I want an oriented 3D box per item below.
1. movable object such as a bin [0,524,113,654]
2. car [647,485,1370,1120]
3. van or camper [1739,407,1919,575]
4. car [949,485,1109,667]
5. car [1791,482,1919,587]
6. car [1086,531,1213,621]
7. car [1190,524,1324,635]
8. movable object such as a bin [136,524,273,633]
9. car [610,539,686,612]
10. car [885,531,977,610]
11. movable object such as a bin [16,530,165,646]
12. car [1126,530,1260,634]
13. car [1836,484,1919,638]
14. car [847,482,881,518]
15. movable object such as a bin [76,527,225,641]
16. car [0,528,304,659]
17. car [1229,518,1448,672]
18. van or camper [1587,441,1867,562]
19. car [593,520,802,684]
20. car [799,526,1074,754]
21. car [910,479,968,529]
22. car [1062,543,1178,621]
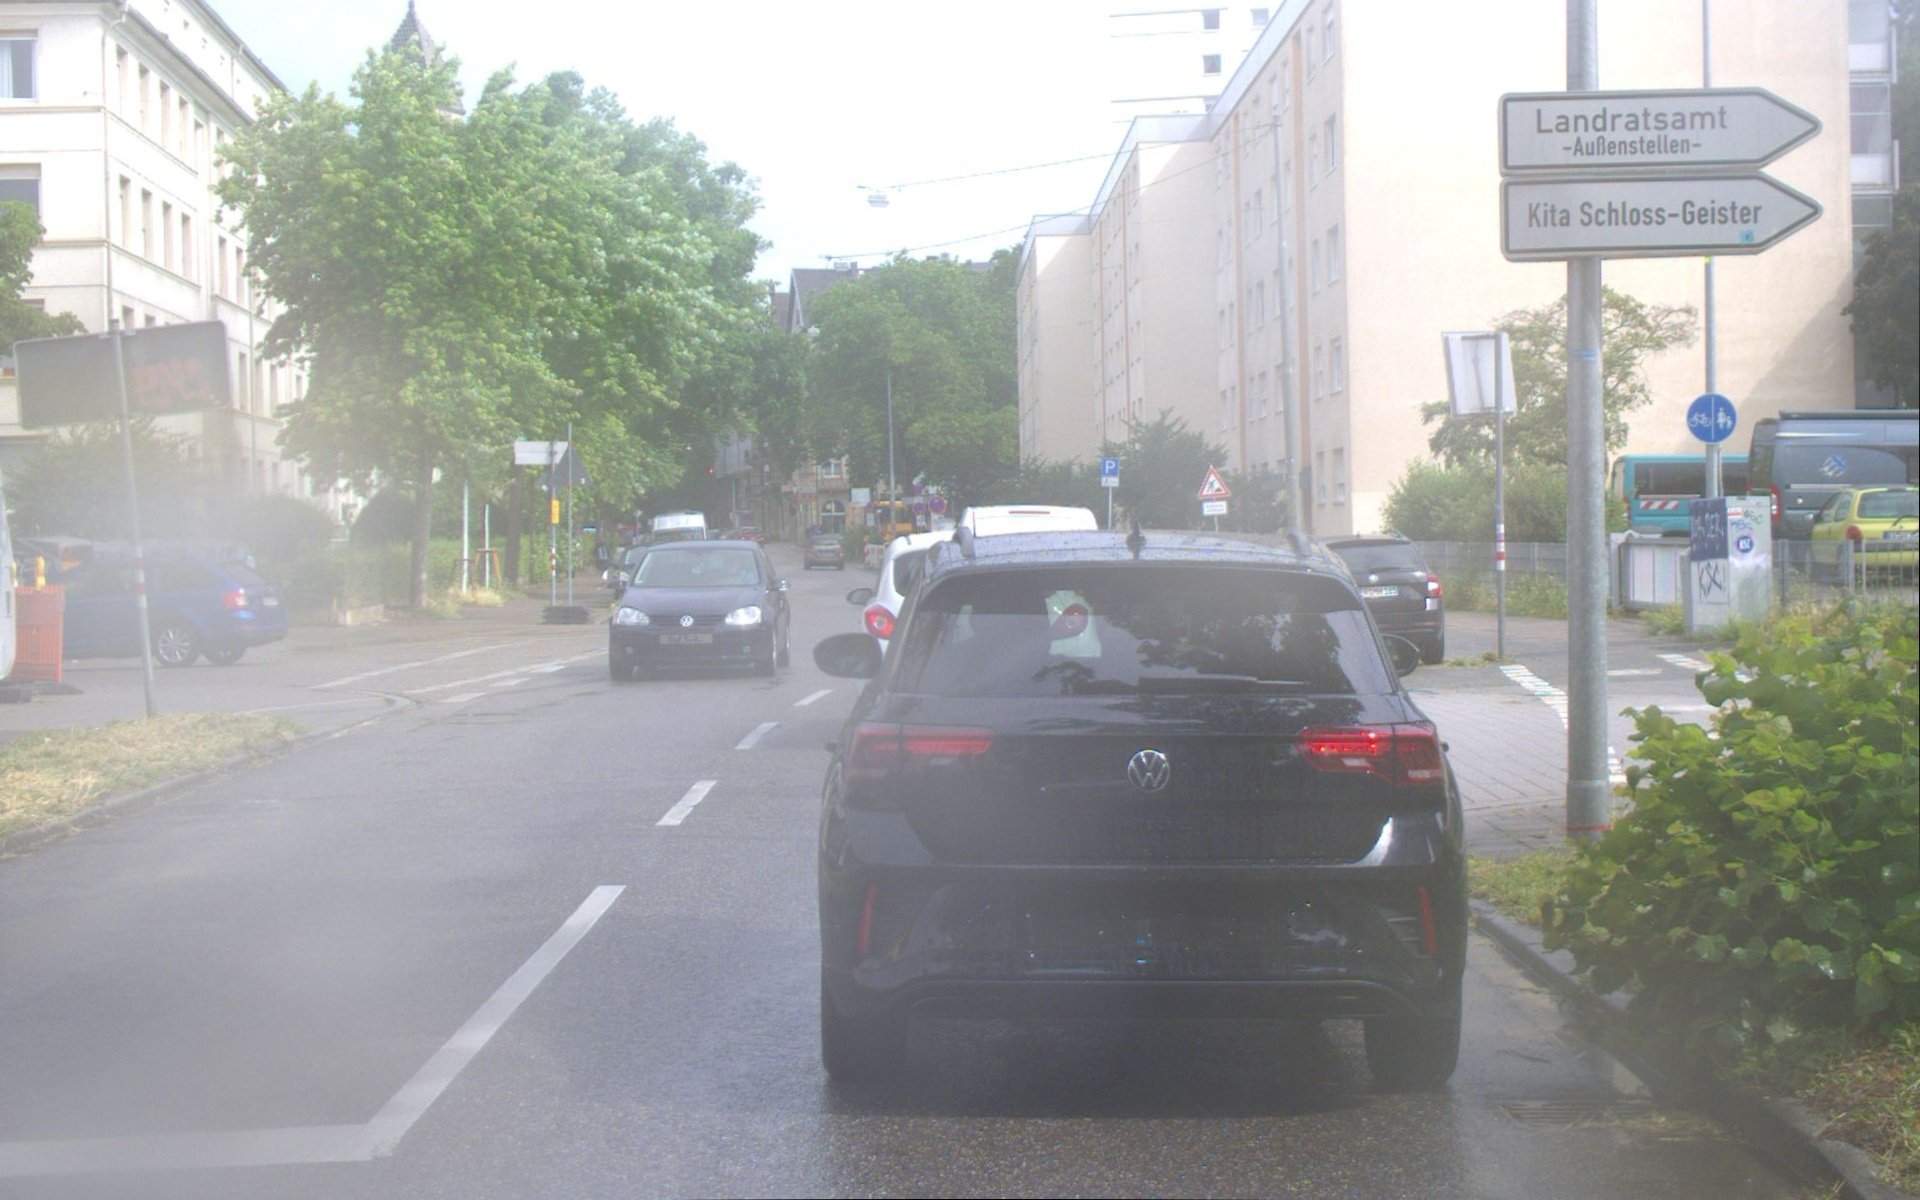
[{"bbox_3d":[-13.377,-0.156,50.018,1.539,1.818,1.262,-1,2,19],"label":"movable object such as a bin"},{"bbox_3d":[0.114,0.511,11.018,1.873,1.640,4.062,1,0,0],"label":"car"},{"bbox_3d":[14.981,-1.706,53.966,4.998,2.546,2.175,-1,0,1],"label":"van or camper"},{"bbox_3d":[0.865,-0.292,42.135,1.836,2.095,4.000,1,0,2],"label":"car"},{"bbox_3d":[13.337,-0.971,50.331,1.610,1.444,3.417,-2,1,2],"label":"car"},{"bbox_3d":[3.359,-0.405,61.658,1.748,1.503,4.112,-1,-1,-4],"label":"car"},{"bbox_3d":[4.310,-0.272,50.375,1.757,1.522,3.999,1,0,3],"label":"car"},{"bbox_3d":[-11.999,-0.346,54.632,1.539,1.656,1.457,-1,2,19],"label":"movable object such as a bin"},{"bbox_3d":[-6.934,-0.571,76.532,1.585,1.500,4.065,-2,1,-5],"label":"car"},{"bbox_3d":[-0.620,-0.621,70.519,1.604,1.505,3.549,-2,1,-4],"label":"car"},{"bbox_3d":[-13.029,-0.193,51.558,1.539,1.650,1.526,-1,2,19],"label":"movable object such as a bin"},{"bbox_3d":[3.691,-0.302,55.084,1.604,1.503,4.160,-3,1,-2],"label":"car"},{"bbox_3d":[11.858,-0.515,41.025,1.804,1.744,4.238,-2,1,2],"label":"car"},{"bbox_3d":[-5.067,-5.259,181.247,1.665,1.831,4.001,-2,1,-2],"label":"car"},{"bbox_3d":[-12.499,-0.259,53.118,1.539,1.668,1.664,-1,2,19],"label":"movable object such as a bin"},{"bbox_3d":[-11.127,-0.087,45.377,4.434,1.579,1.821,-2,1,10],"label":"car"},{"bbox_3d":[4.187,-0.103,38.696,1.774,1.534,4.379,-4,1,-2],"label":"car"},{"bbox_3d":[14.248,-1.831,64.117,4.760,2.124,2.321,-1,2,4],"label":"van or camper"},{"bbox_3d":[-2.802,-0.022,37.495,1.841,1.602,4.000,-3,1,1],"label":"car"},{"bbox_3d":[-0.163,0.255,24.894,1.813,1.498,4.000,1,0,0],"label":"car"},{"bbox_3d":[-0.716,-3.277,118.251,1.841,1.602,3.675,-3,1,1],"label":"car"},{"bbox_3d":[3.085,-0.375,66.936,1.716,1.447,4.260,0,1,-5],"label":"car"}]
